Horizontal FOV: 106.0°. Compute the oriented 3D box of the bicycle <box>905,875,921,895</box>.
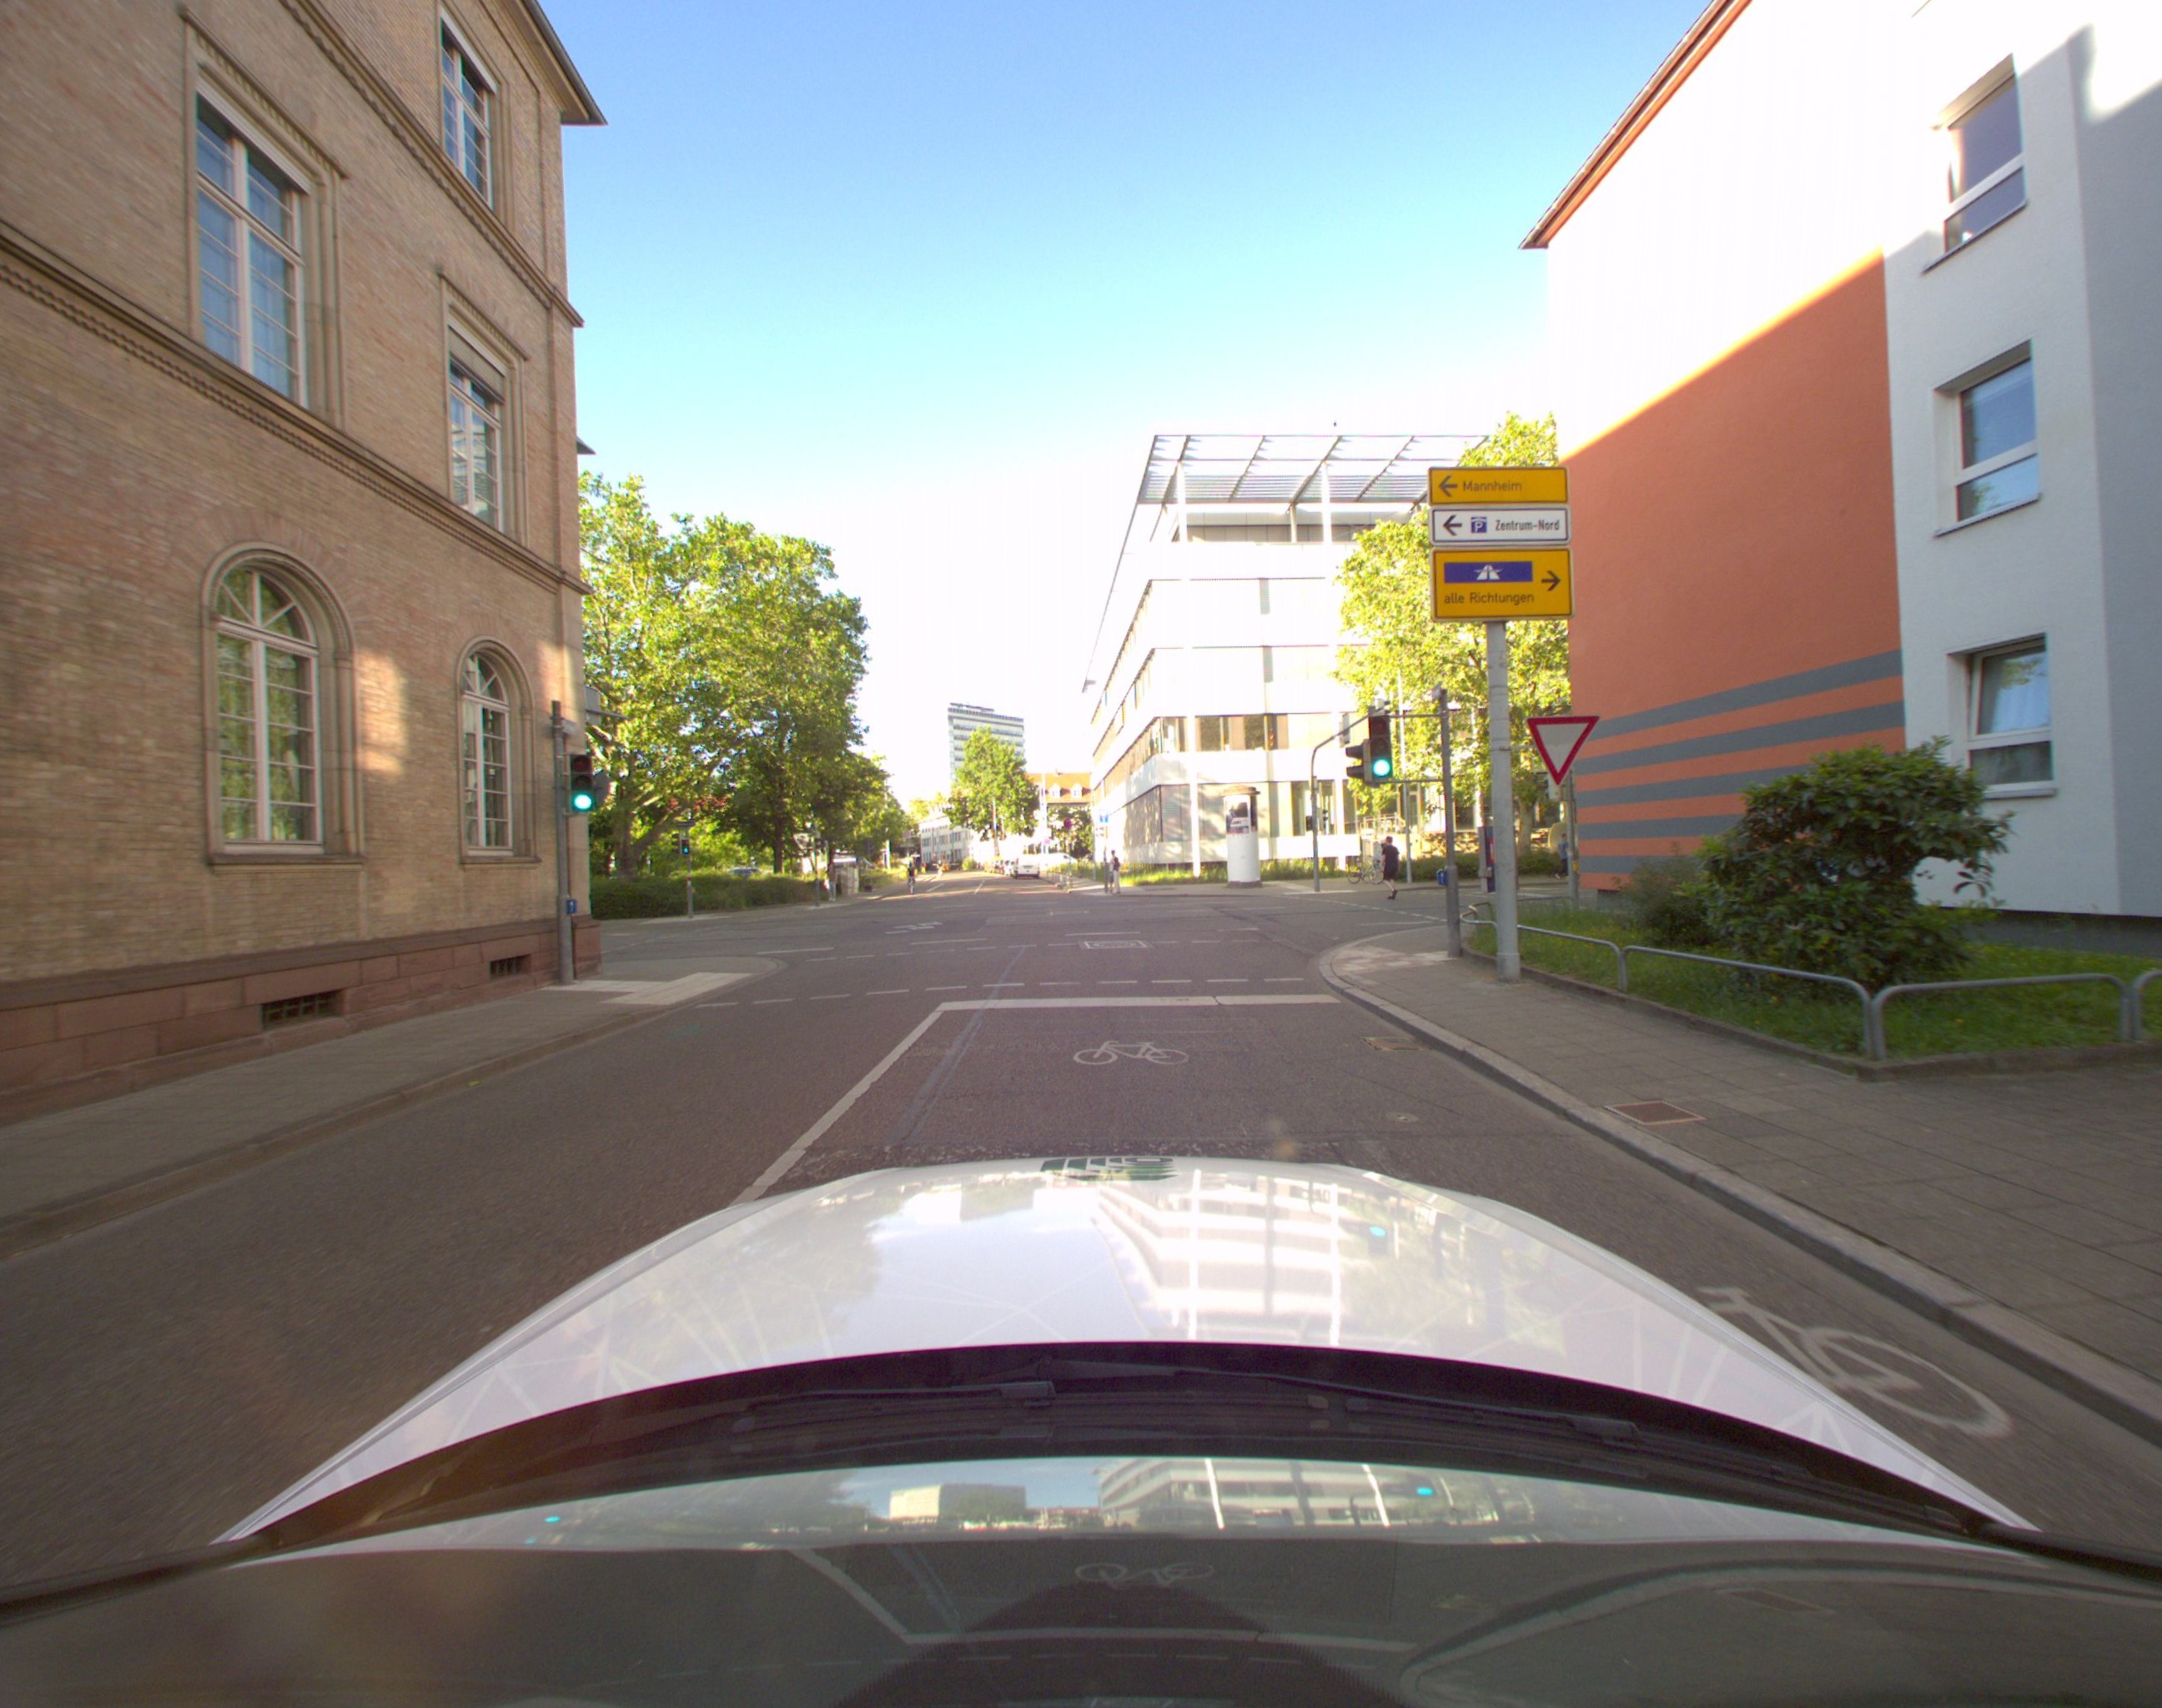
[{"bbox_3d":[-8.866,1.633,43.017,0.615,0.970,1.837,-3,0,-6],"label":"bicycle"}]

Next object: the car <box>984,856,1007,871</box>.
[{"bbox_3d":[-9.839,1.073,93.488,1.892,1.655,4.392,-2,1,-16],"label":"car"}]

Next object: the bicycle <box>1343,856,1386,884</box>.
[{"bbox_3d":[11.507,0.628,33.075,0.510,1.049,1.670,-4,3,-32],"label":"bicycle"}]

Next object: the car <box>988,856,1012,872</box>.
[{"bbox_3d":[-8.817,1.086,88.593,1.892,1.655,4.392,-2,1,-16],"label":"car"}]

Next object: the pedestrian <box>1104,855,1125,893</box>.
[{"bbox_3d":[1.429,0.845,34.646,0.560,1.540,0.673,-5,0,-15],"label":"pedestrian"}]

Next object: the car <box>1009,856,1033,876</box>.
[{"bbox_3d":[-5.258,0.992,70.714,1.886,1.555,4.404,-2,1,-7],"label":"car"}]

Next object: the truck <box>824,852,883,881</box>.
[{"bbox_3d":[-20.487,1.128,73.516,4.824,2.399,2.082,-2,0,-7],"label":"truck"}]

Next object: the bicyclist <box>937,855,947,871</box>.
[{"bbox_3d":[-13.543,0.892,79.272,0.865,1.515,1.016,-5,-1,-8],"label":"bicyclist"}]

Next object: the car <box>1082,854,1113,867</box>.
[{"bbox_3d":[2.071,0.848,101.770,3.562,1.546,1.550,-2,-1,-16],"label":"car"}]

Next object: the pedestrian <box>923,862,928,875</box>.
[{"bbox_3d":[-18.816,1.777,98.574,0.435,1.608,0.489,-2,-1,-23],"label":"pedestrian"}]

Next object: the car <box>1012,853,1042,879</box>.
[{"bbox_3d":[-4.182,0.884,62.455,2.083,1.795,4.404,-2,1,-7],"label":"car"}]

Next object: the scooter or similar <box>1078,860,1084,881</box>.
[{"bbox_3d":[0.017,1.140,56.099,0.329,1.424,1.333,0,-1,-3],"label":"scooter or similar"}]

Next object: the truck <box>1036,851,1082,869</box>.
[{"bbox_3d":[-2.695,0.750,100.776,5.350,2.014,1.989,-2,-1,-16],"label":"truck"}]

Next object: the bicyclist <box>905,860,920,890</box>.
[{"bbox_3d":[-8.860,1.103,42.733,0.615,1.532,0.901,-3,0,-6],"label":"bicyclist"}]

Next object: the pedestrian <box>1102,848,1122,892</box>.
[{"bbox_3d":[1.347,0.691,35.258,0.555,1.850,0.680,-5,0,19],"label":"pedestrian"}]

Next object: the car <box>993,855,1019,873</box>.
[{"bbox_3d":[-7.749,1.011,83.453,1.892,1.655,4.392,-2,1,-16],"label":"car"}]

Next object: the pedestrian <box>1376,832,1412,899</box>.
[{"bbox_3d":[8.852,0.321,23.028,0.704,1.840,0.838,-1,0,2],"label":"pedestrian"}]

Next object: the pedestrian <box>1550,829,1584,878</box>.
[{"bbox_3d":[18.654,-0.009,31.261,0.834,1.840,0.707,-1,0,-7],"label":"pedestrian"}]

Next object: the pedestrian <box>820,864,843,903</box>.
[{"bbox_3d":[-11.456,1.350,37.412,0.701,1.723,0.954,-3,-1,-1],"label":"pedestrian"}]

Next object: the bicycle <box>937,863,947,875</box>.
[{"bbox_3d":[-13.503,1.457,79.251,0.865,1.009,2.407,-5,0,-8],"label":"bicycle"}]

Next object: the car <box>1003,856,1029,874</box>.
[{"bbox_3d":[-6.106,1.004,76.127,1.889,1.555,4.399,-2,1,-10],"label":"car"}]
